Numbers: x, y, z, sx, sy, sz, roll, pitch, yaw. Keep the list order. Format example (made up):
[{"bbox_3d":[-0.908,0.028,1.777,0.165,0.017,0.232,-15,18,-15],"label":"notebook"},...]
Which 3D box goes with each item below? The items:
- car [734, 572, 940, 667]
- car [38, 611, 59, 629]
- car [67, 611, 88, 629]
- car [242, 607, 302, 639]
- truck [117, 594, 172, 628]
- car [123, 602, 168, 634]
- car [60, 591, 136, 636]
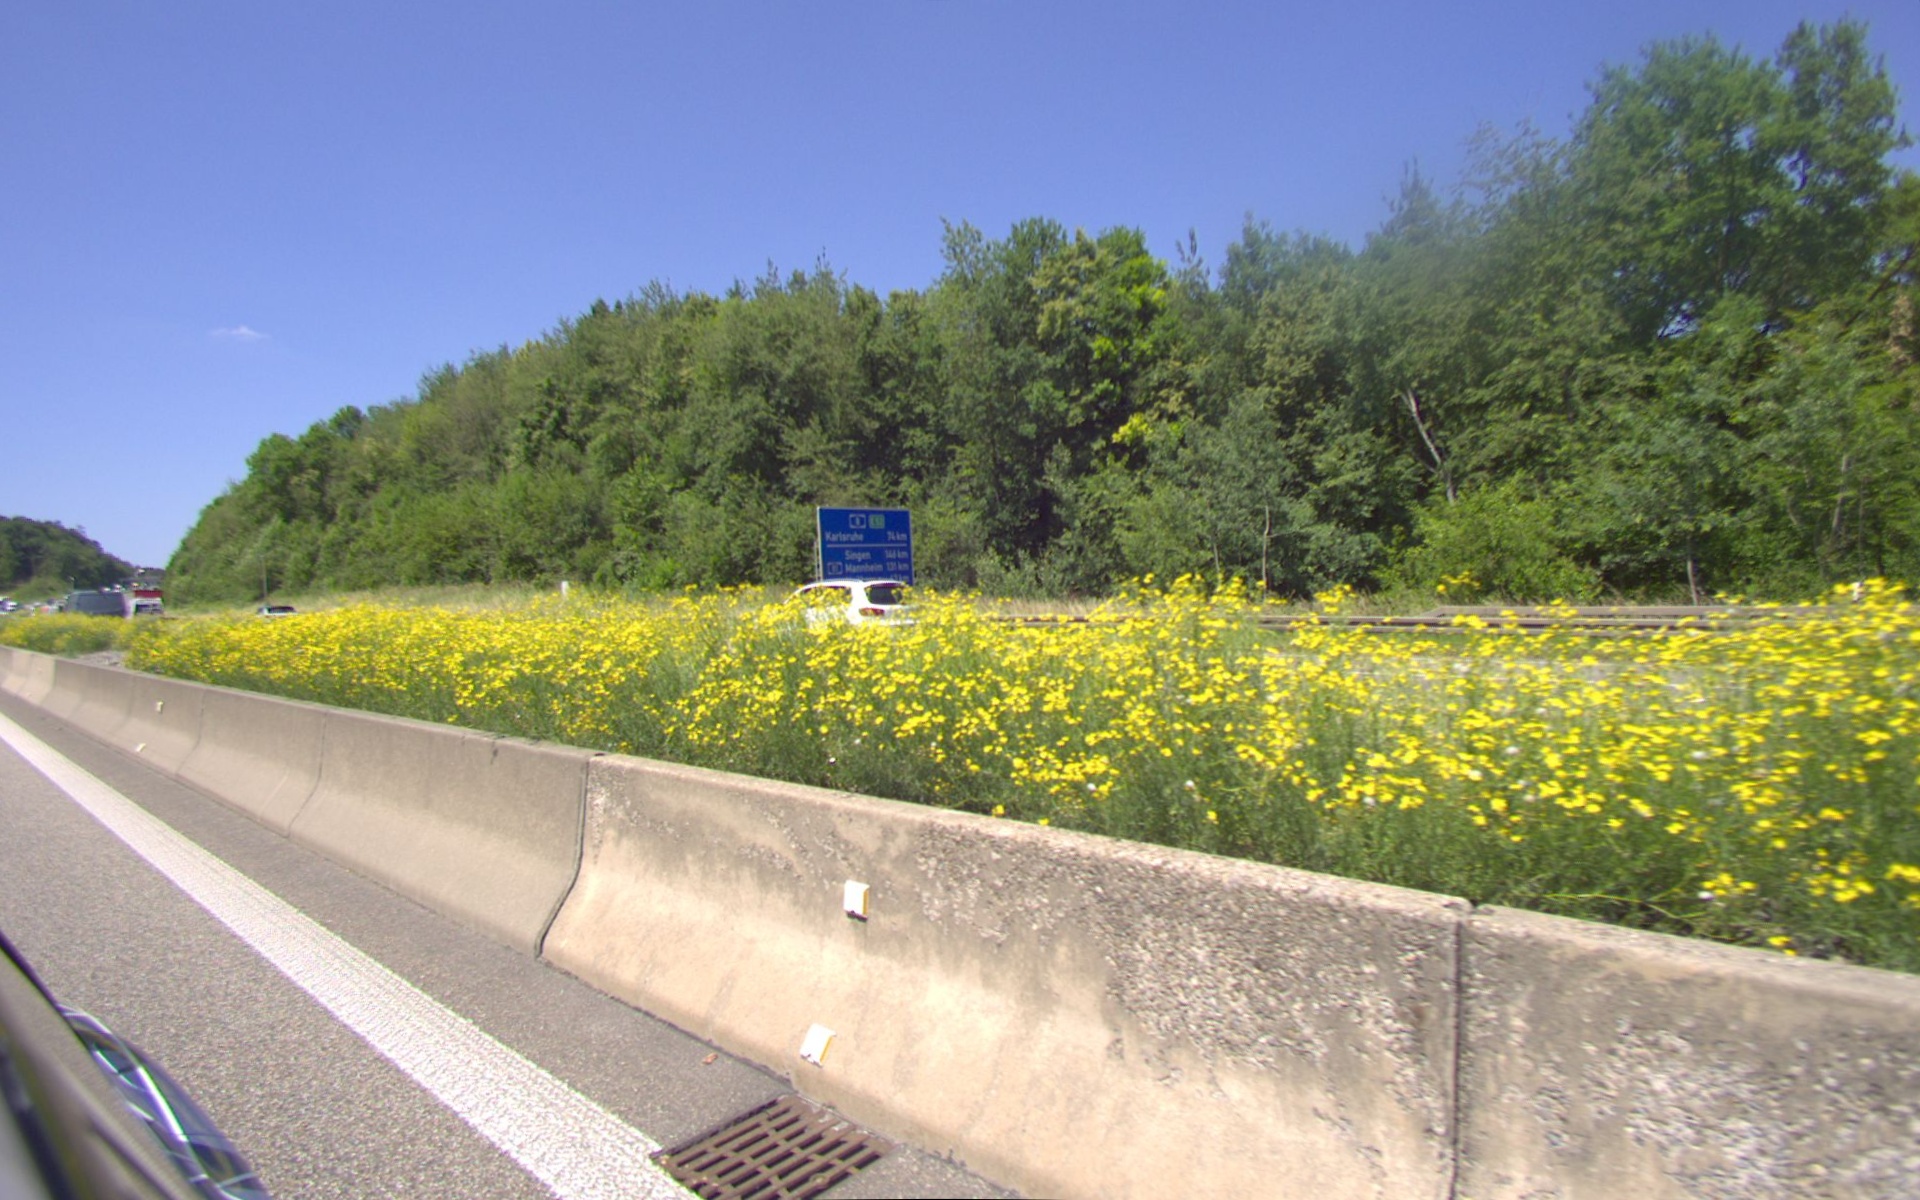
[{"bbox_3d":[-2.644,0.390,21.129,4.320,1.778,1.862,-1,0,41],"label":"car"},{"bbox_3d":[-127.906,2.860,141.956,1.971,2.417,4.002,-1,0,-45],"label":"car"},{"bbox_3d":[-126.414,2.874,144.986,1.971,2.417,4.002,-1,0,-45],"label":"car"},{"bbox_3d":[-37.024,1.220,54.403,4.117,1.641,1.757,-1,0,42],"label":"car"},{"bbox_3d":[-97.195,1.307,120.451,3.875,3.746,16.758,-1,0,-43],"label":"truck"},{"bbox_3d":[-69.531,1.512,86.380,5.975,2.643,2.133,-1,0,43],"label":"car"},{"bbox_3d":[-42.032,0.652,49.264,6.186,2.029,2.296,-1,0,45],"label":"car"}]
